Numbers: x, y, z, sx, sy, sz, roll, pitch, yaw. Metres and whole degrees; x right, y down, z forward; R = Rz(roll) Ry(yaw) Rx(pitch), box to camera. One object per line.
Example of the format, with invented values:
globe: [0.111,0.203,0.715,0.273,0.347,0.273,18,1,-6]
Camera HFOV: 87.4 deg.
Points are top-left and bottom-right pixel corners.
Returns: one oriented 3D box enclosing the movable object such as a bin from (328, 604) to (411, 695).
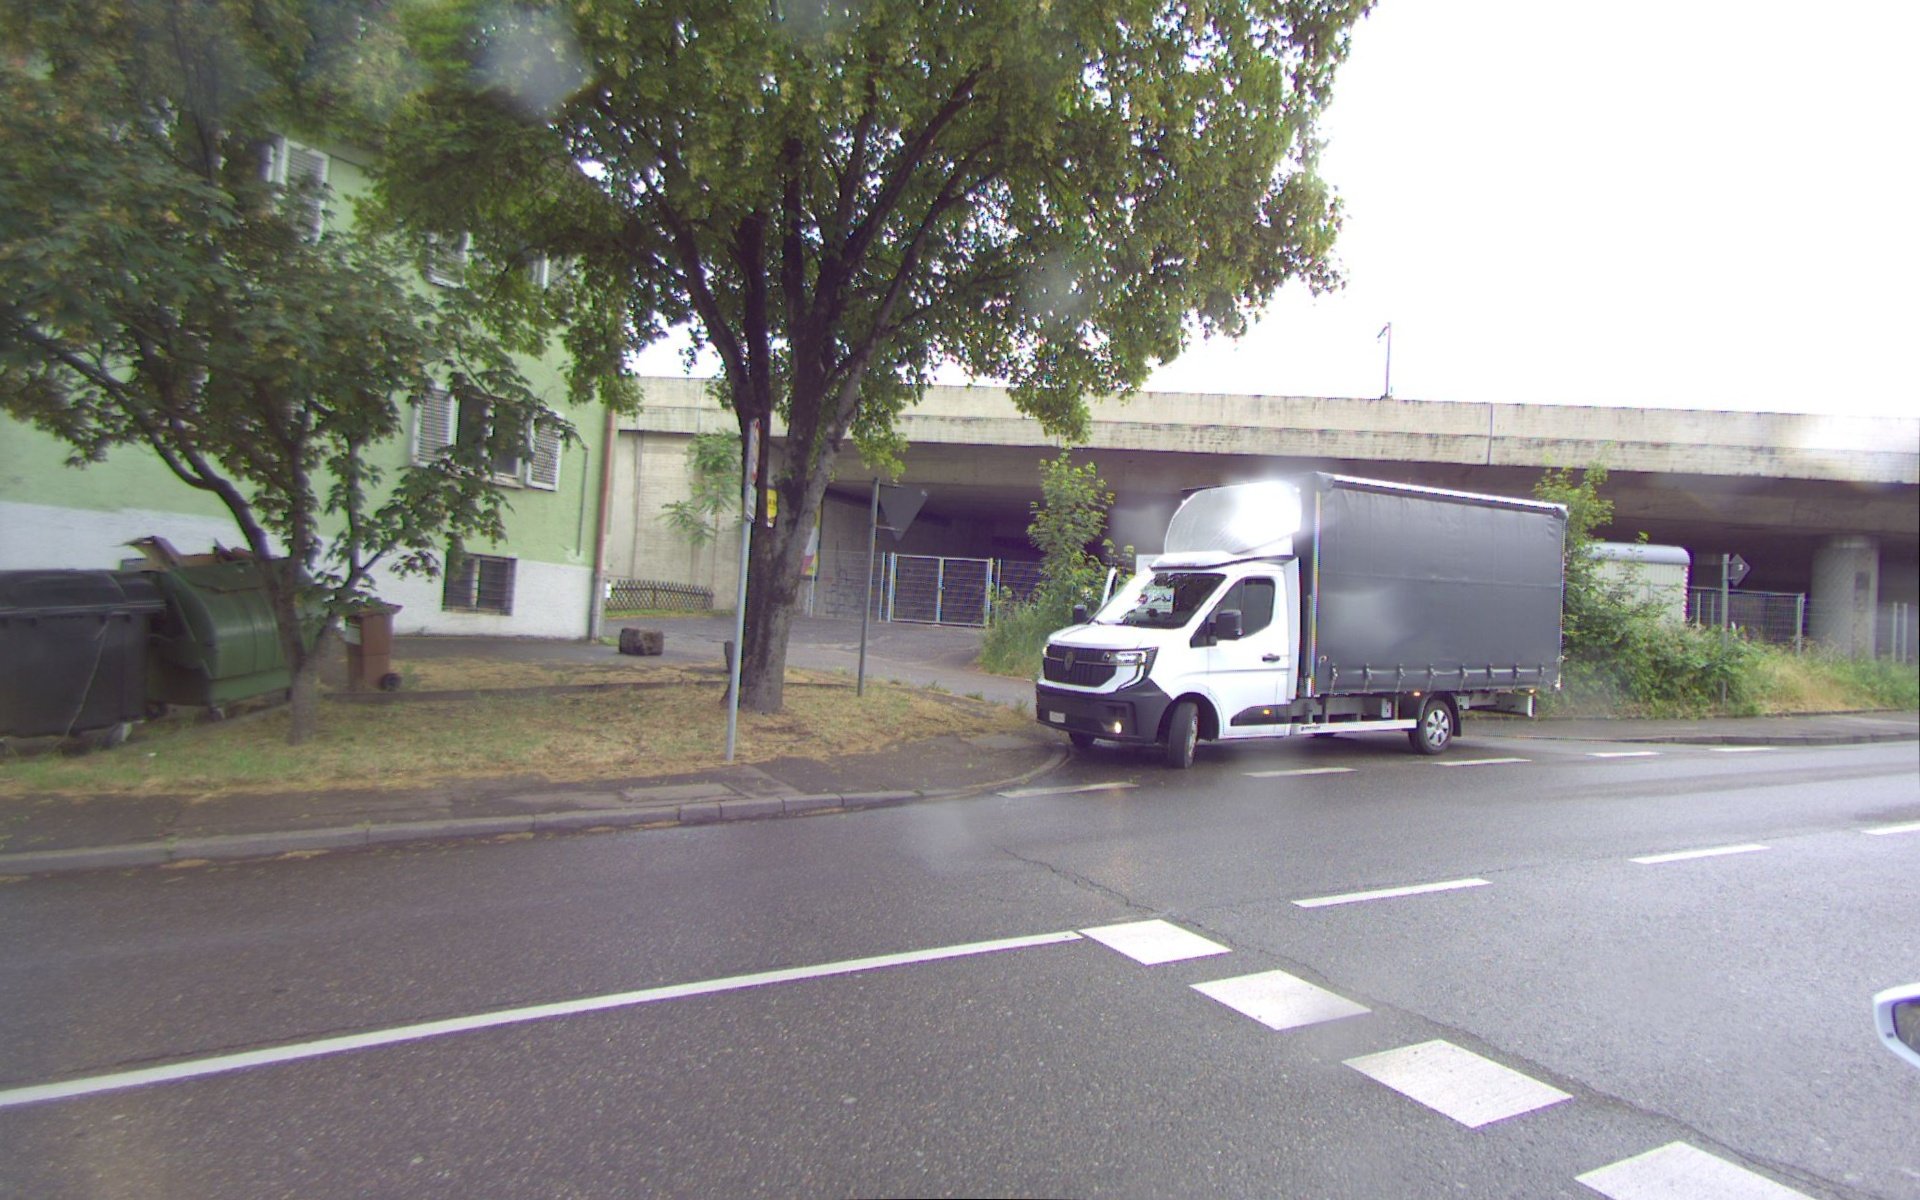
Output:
movable object such as a bin: [-6.360,0.522,10.836,0.531,0.922,0.562,2,2,22]

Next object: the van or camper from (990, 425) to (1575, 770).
van or camper: [4.372,0.114,12.919,7.670,3.379,2.686,2,-1,-30]

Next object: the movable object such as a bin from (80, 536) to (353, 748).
movable object such as a bin: [-6.924,0.319,9.435,1.547,1.785,1.453,2,2,22]

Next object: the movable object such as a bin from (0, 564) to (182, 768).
movable object such as a bin: [-7.441,0.455,8.027,1.444,1.460,1.376,2,2,22]
